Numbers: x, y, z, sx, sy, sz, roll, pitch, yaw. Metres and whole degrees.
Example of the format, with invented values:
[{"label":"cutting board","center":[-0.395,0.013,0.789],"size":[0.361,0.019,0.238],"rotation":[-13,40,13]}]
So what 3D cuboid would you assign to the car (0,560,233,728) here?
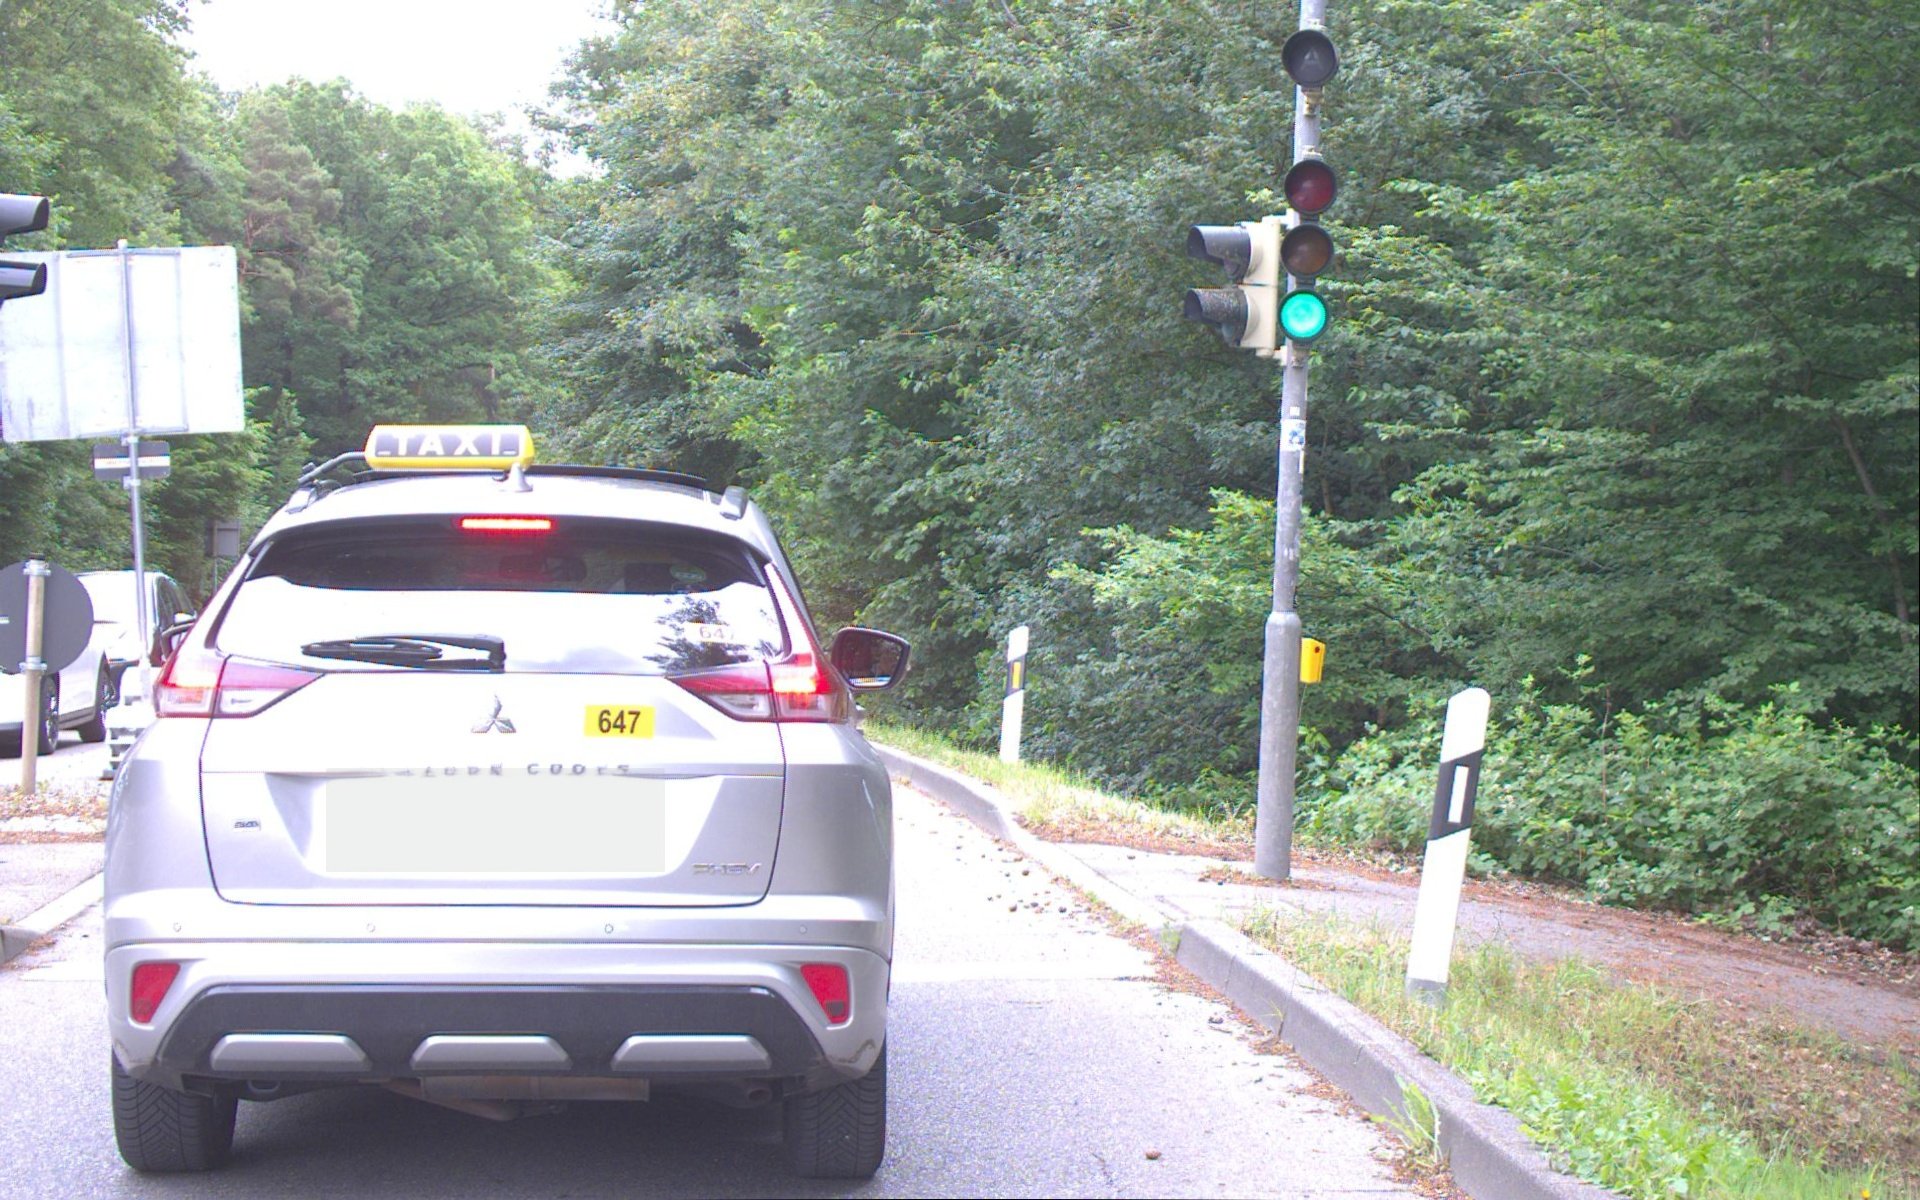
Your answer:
[{"label":"car","center":[-8.316,0.394,33.504],"size":[1.811,1.503,3.722],"rotation":[-2,0,-3]}]

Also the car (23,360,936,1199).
[{"label":"car","center":[-1.221,0.382,9.145],"size":[1.846,1.774,4.001],"rotation":[1,1,-7]}]

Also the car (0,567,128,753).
[{"label":"car","center":[-7.808,0.444,27.336],"size":[1.612,1.317,3.722],"rotation":[-2,2,-3]}]
